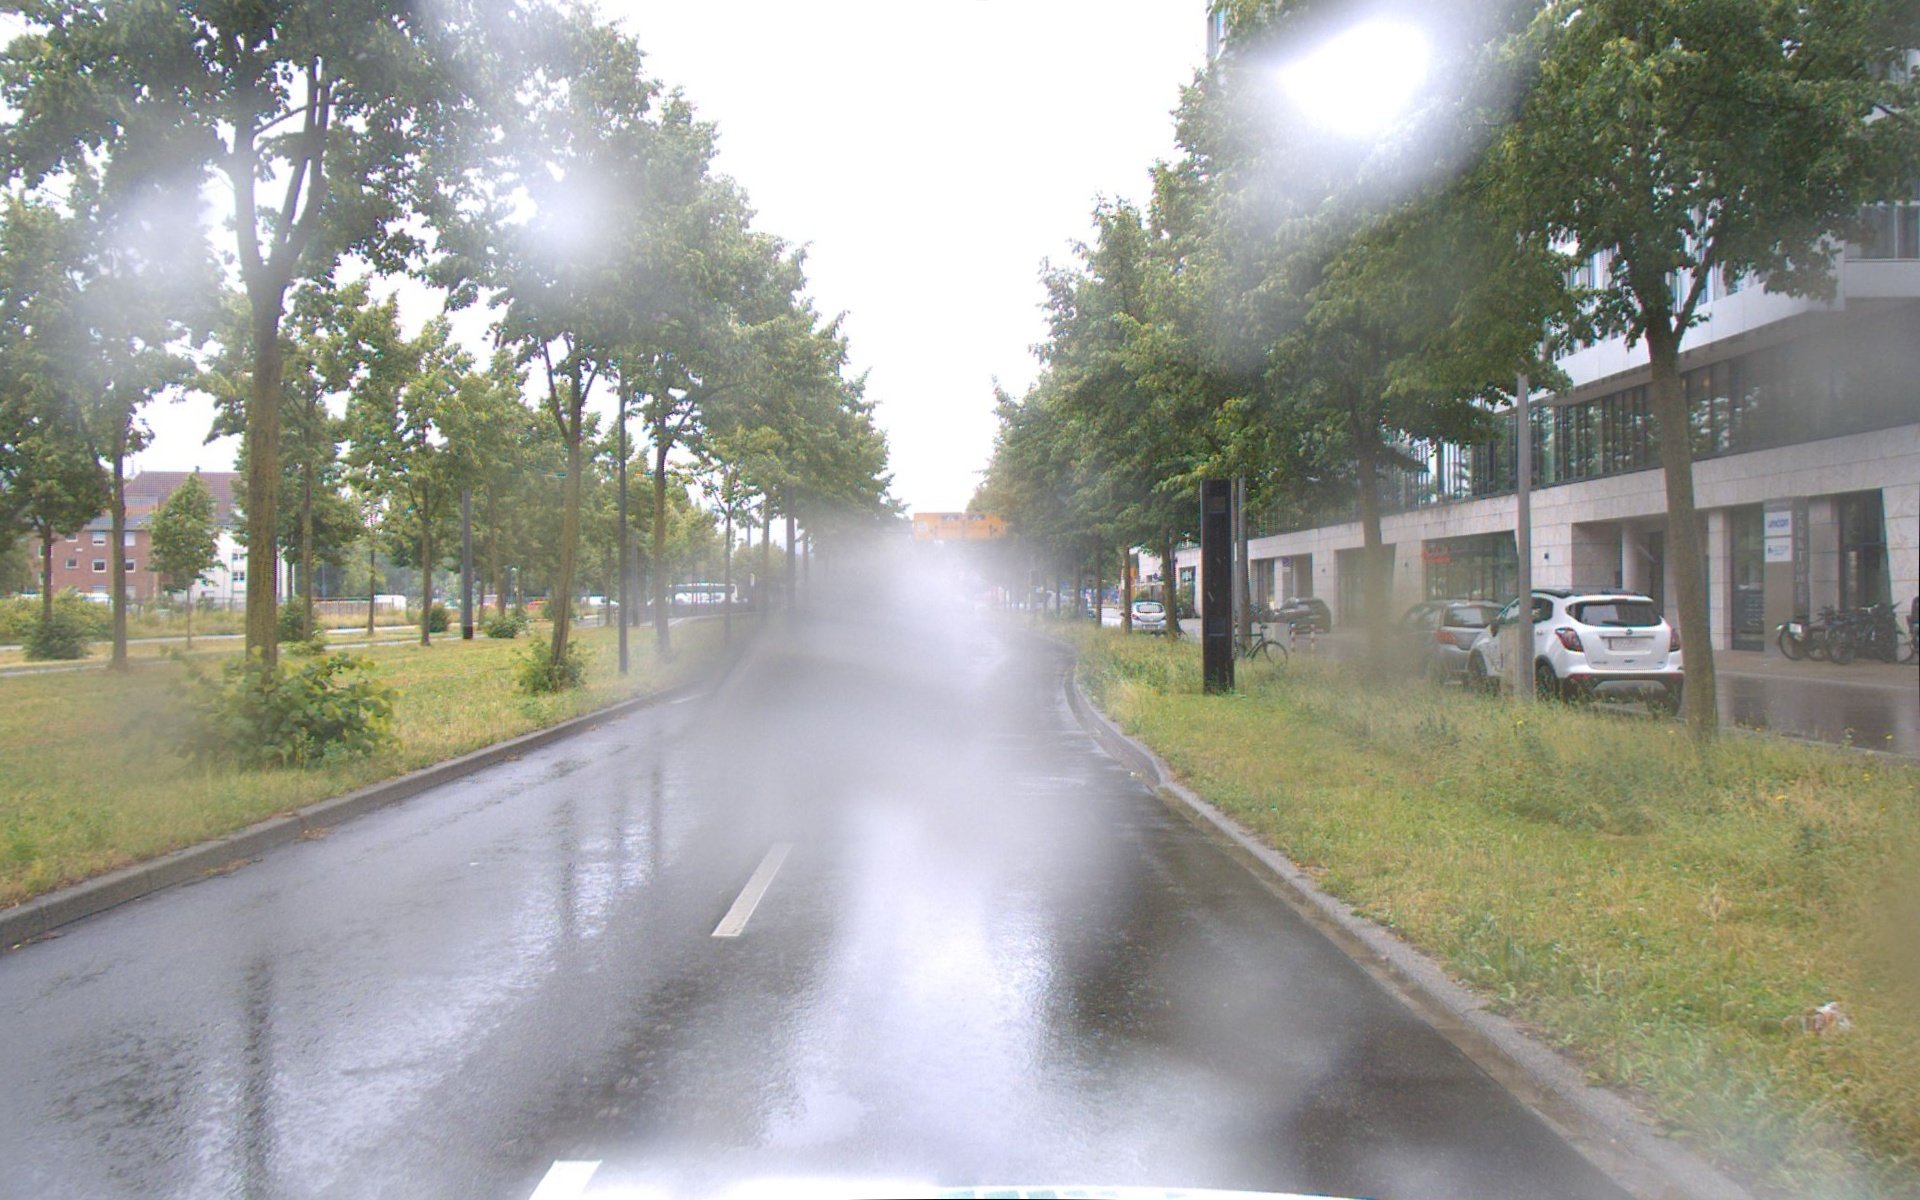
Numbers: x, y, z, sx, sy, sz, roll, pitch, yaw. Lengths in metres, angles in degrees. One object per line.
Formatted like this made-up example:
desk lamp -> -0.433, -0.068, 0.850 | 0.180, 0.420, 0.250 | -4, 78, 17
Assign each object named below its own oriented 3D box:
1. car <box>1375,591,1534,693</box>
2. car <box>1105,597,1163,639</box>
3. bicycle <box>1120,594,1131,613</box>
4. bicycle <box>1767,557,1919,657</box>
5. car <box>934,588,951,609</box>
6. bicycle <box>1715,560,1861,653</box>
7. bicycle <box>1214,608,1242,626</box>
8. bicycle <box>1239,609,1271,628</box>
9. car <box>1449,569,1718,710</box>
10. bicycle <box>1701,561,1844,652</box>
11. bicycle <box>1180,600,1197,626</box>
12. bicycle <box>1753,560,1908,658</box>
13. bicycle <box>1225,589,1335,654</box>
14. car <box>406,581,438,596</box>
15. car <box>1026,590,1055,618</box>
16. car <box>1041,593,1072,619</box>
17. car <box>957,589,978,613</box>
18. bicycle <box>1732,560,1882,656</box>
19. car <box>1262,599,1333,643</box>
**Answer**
car -> 8.369, 0.667, 28.301 | 1.592, 1.516, 3.656 | 0, 2, -1
car -> 7.206, 0.711, 68.925 | 1.843, 1.532, 4.724 | 0, 2, -1
bicycle -> 15.131, 0.304, 151.145 | 0.652, 1.561, 2.764 | 0, 2, -1
bicycle -> 17.067, 0.141, 31.884 | 2.623, 1.893, 0.707 | 0, 0, 4
car -> -1.859, -0.145, 175.707 | 1.849, 2.048, 4.000 | 0, 2, -1
bicycle -> 17.111, 0.139, 34.226 | 2.623, 1.893, 0.707 | 0, 0, 4
bicycle -> 16.298, 1.028, 100.637 | 1.659, 1.046, 0.423 | 0, -1, 1
bicycle -> 16.746, 1.052, 93.931 | 1.769, 1.046, 0.401 | 0, -1, 1
car -> 8.587, 0.453, 23.300 | 1.953, 1.698, 4.724 | 0, 2, -1
bicycle -> 17.160, 0.135, 34.972 | 2.623, 1.893, 0.707 | 0, 0, 4
bicycle -> 16.333, 0.911, 118.191 | 0.756, 1.752, 3.120 | 0, 2, -1
bicycle -> 17.160, 0.173, 32.647 | 2.623, 1.893, 0.707 | 0, 0, 4
bicycle -> 6.078, 0.407, 31.416 | 1.994, 1.217, 0.491 | 0, -1, -1
car -> -64.937, -1.408, 199.603 | 3.486, 1.769, 1.693 | -1, 2, -25
car -> 6.662, 0.345, 136.479 | 2.078, 2.314, 4.563 | 0, 0, -1
car -> 6.852, 0.444, 118.004 | 1.867, 1.822, 4.687 | 0, 0, -1
car -> 0.702, 0.090, 154.134 | 1.901, 2.048, 4.000 | 0, 2, -1
bicycle -> 17.101, 0.161, 33.433 | 2.623, 1.893, 0.707 | 0, 0, 4
car -> 14.295, 0.862, 70.218 | 1.953, 1.527, 5.035 | -5, 1, 1
